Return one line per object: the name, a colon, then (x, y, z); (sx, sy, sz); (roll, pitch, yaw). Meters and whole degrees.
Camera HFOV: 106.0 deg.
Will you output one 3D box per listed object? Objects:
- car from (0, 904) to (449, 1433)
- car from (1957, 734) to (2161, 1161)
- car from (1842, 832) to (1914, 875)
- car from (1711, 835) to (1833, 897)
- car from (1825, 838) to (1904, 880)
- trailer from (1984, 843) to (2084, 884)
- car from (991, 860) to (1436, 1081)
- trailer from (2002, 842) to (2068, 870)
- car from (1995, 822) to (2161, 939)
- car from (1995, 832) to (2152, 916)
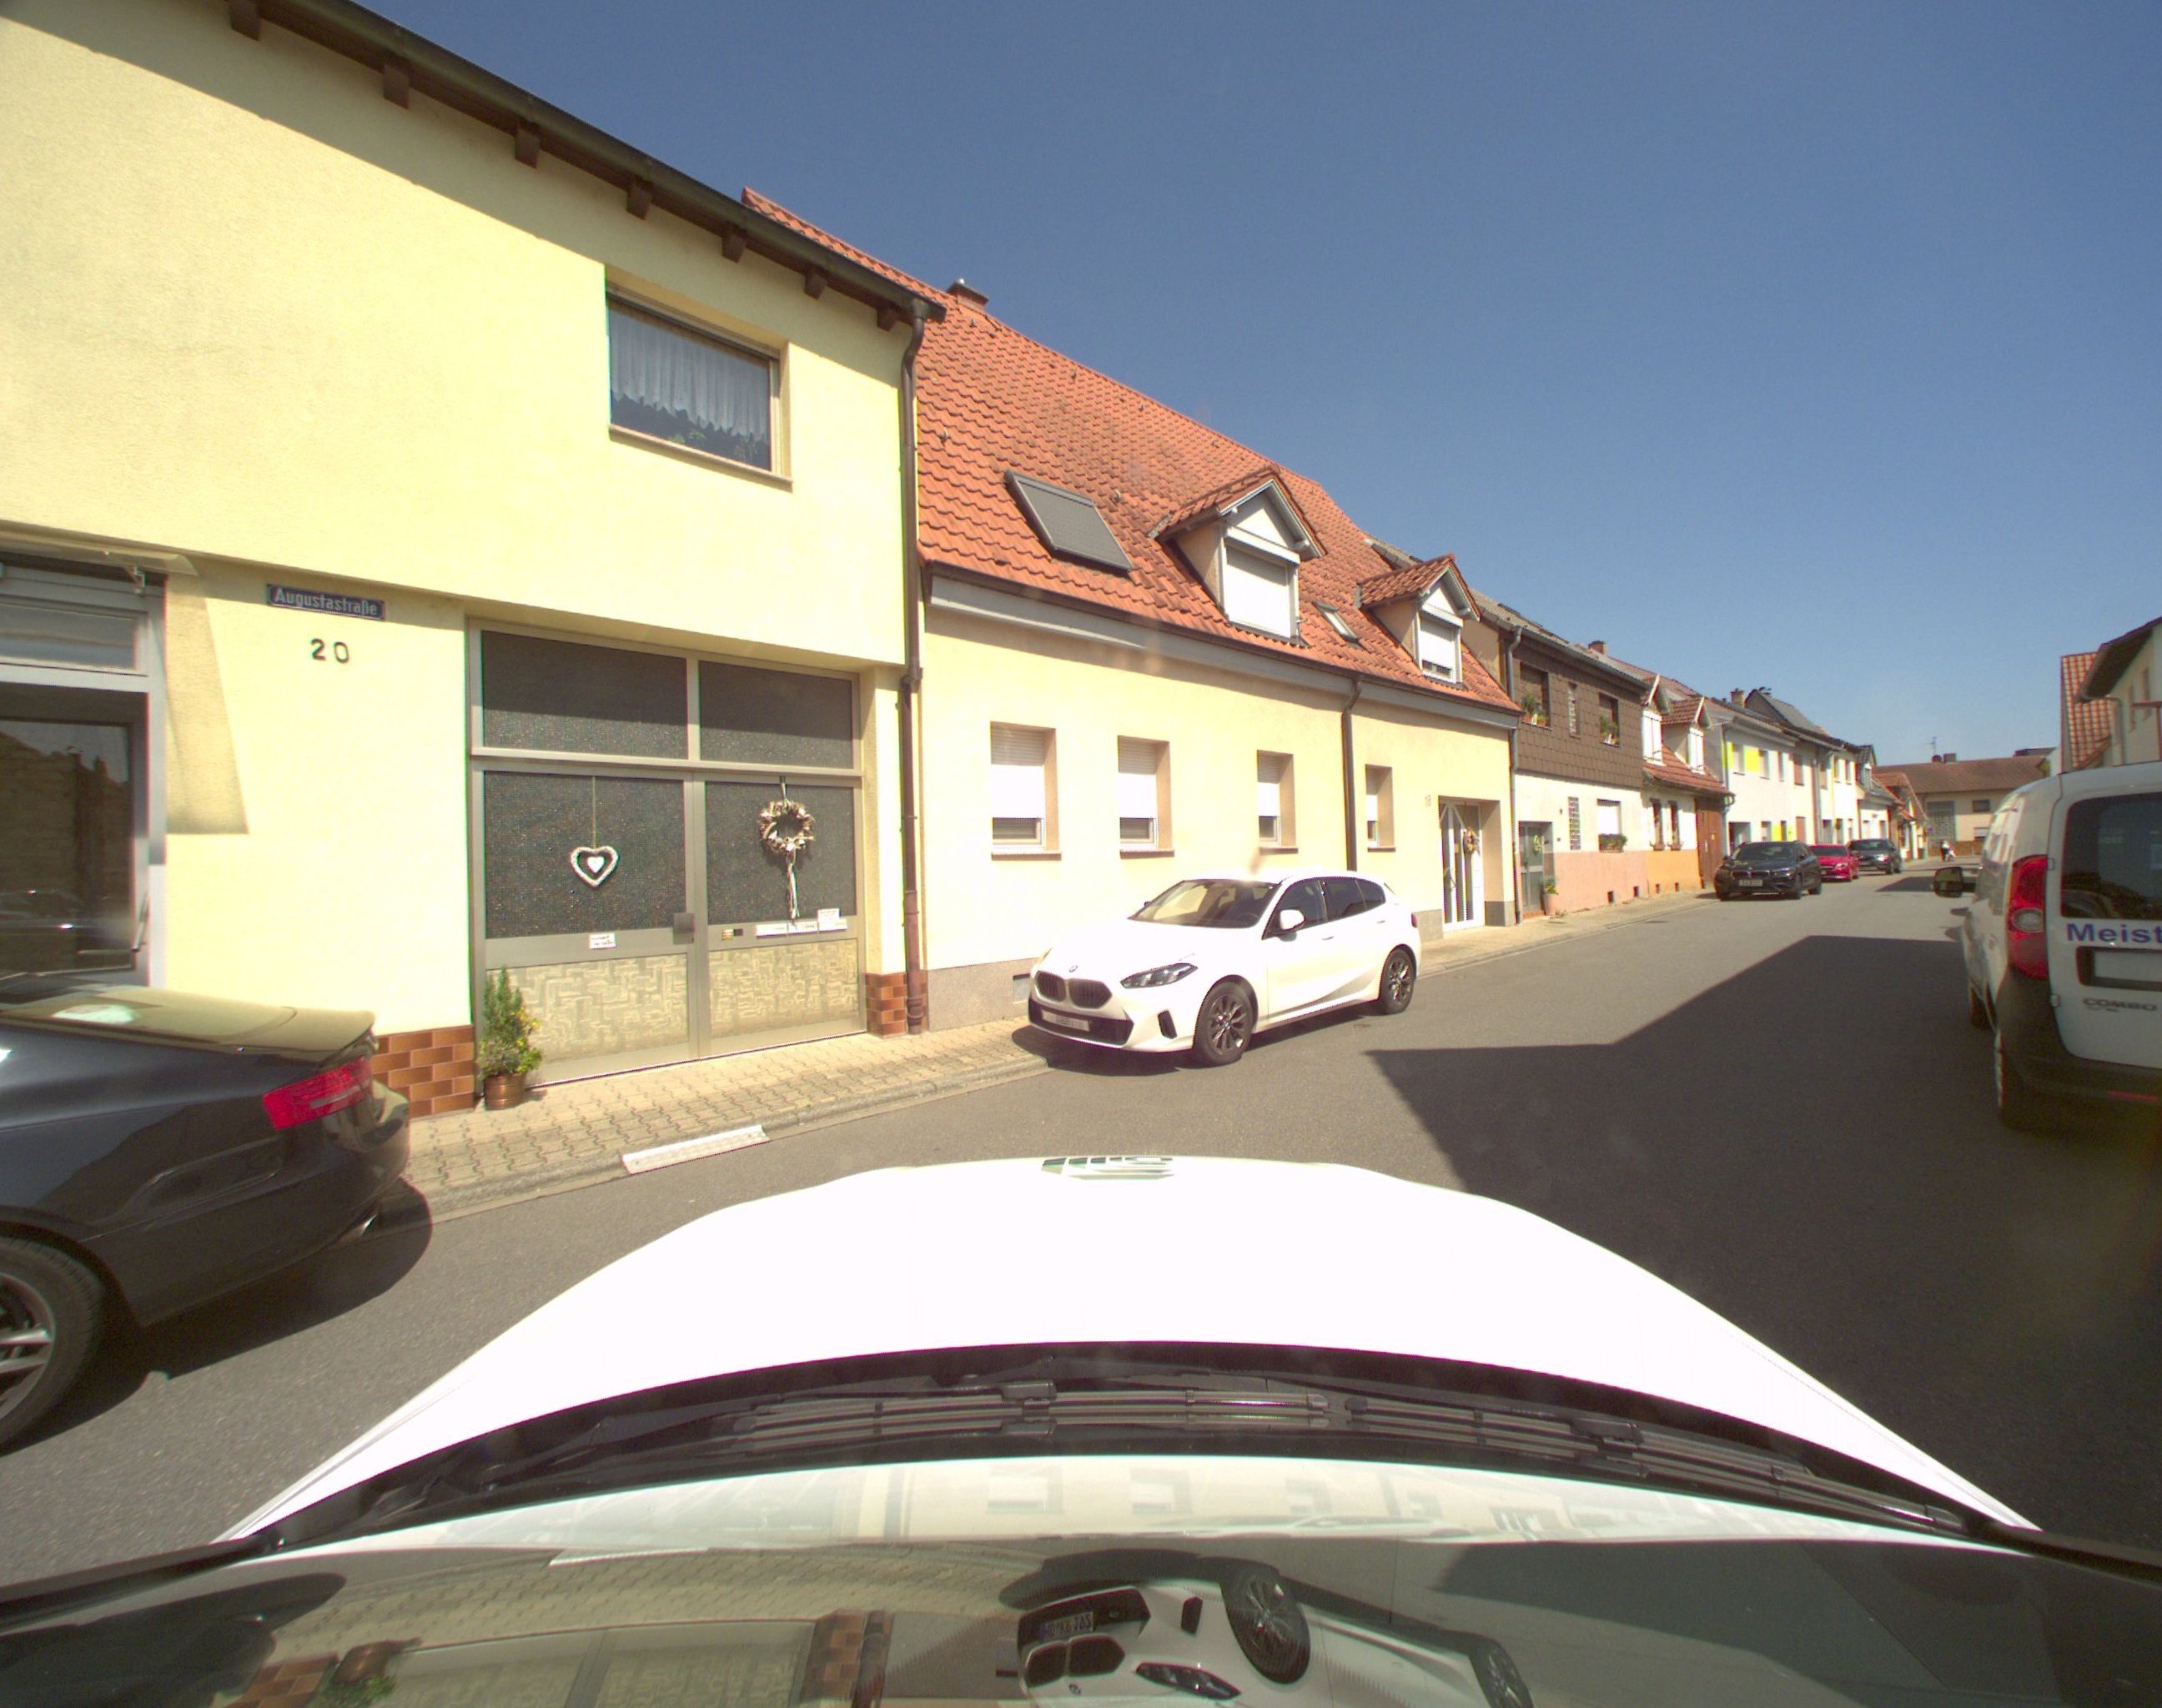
car: (-4.627, 0.980, 2.053); (4.657, 1.394, 1.904); (-1, -5, -42)
car: (6.641, 0.377, 4.890); (4.878, 1.824, 1.793); (-1, 0, -44)
car: (35.356, -0.033, 36.106); (4.511, 1.704, 1.784); (-1, -3, -41)
car: (19.629, 0.322, 23.057); (4.638, 1.574, 1.784); (-1, -2, -40)
car: (29.789, 0.174, 30.919); (4.512, 1.441, 1.784); (-1, -2, -42)
trailer: (28.392, 0.281, 24.269); (3.499, 1.090, 1.802); (-1, -1, -40)
car: (1.434, 0.845, 7.662); (4.237, 1.454, 1.767); (-1, -2, -41)
trailer: (39.581, 0.083, 33.826); (3.499, 1.033, 1.685); (-1, -1, -40)
car: (15.332, 0.346, 12.398); (4.960, 1.482, 1.775); (-1, -3, -41)
car: (19.231, 0.351, 15.936); (4.157, 1.436, 1.634); (-1, -2, -43)
